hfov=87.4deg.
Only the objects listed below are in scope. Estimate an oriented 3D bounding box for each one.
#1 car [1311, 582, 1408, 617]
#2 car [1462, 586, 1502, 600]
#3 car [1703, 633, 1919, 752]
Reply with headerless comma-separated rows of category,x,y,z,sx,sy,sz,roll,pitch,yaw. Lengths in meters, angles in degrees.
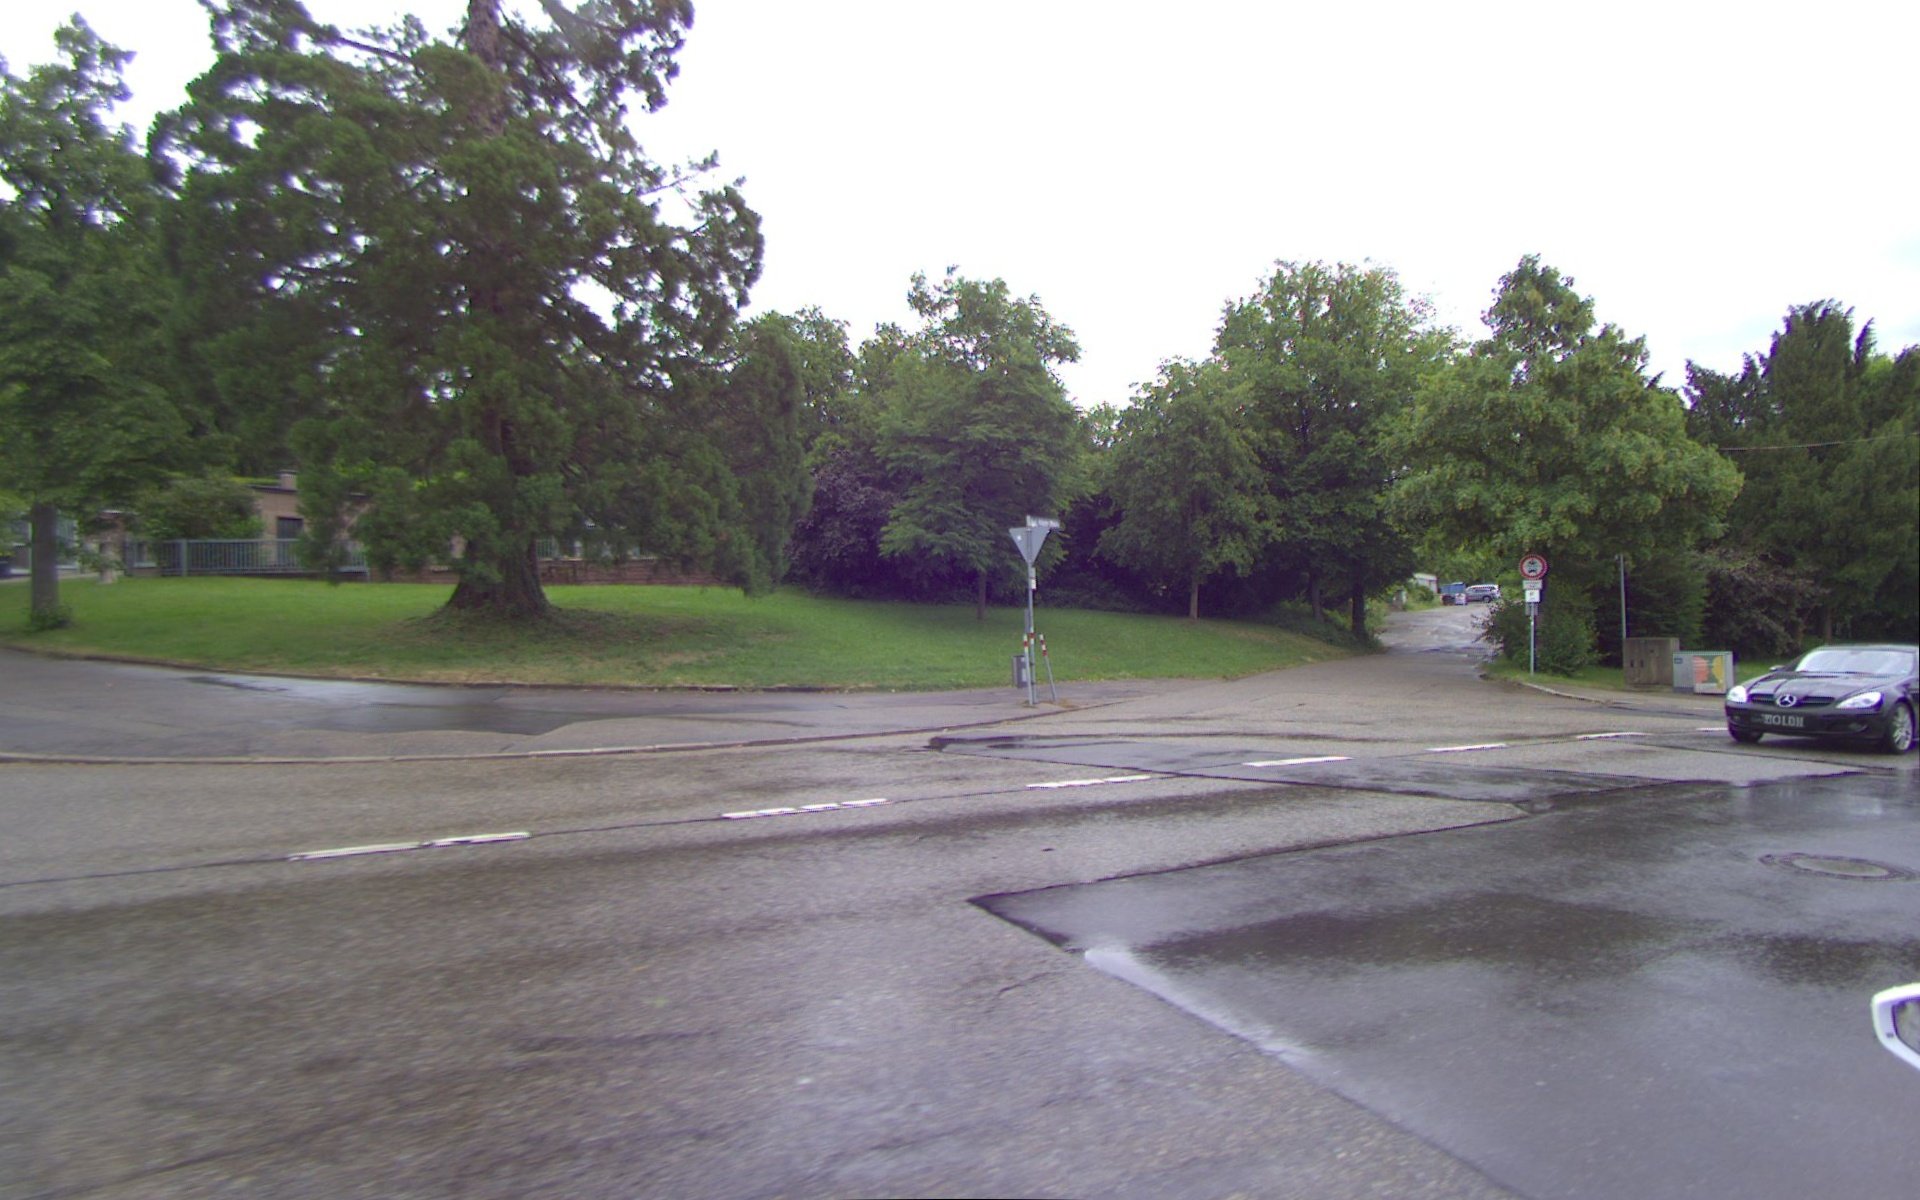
car,18.624,0.014,46.877,3.851,1.505,1.926,-1,-2,40
car,58.909,-0.776,113.425,3.929,1.402,1.724,2,1,30
car,11.814,1.127,13.223,4.031,1.323,1.655,0,-3,-28
